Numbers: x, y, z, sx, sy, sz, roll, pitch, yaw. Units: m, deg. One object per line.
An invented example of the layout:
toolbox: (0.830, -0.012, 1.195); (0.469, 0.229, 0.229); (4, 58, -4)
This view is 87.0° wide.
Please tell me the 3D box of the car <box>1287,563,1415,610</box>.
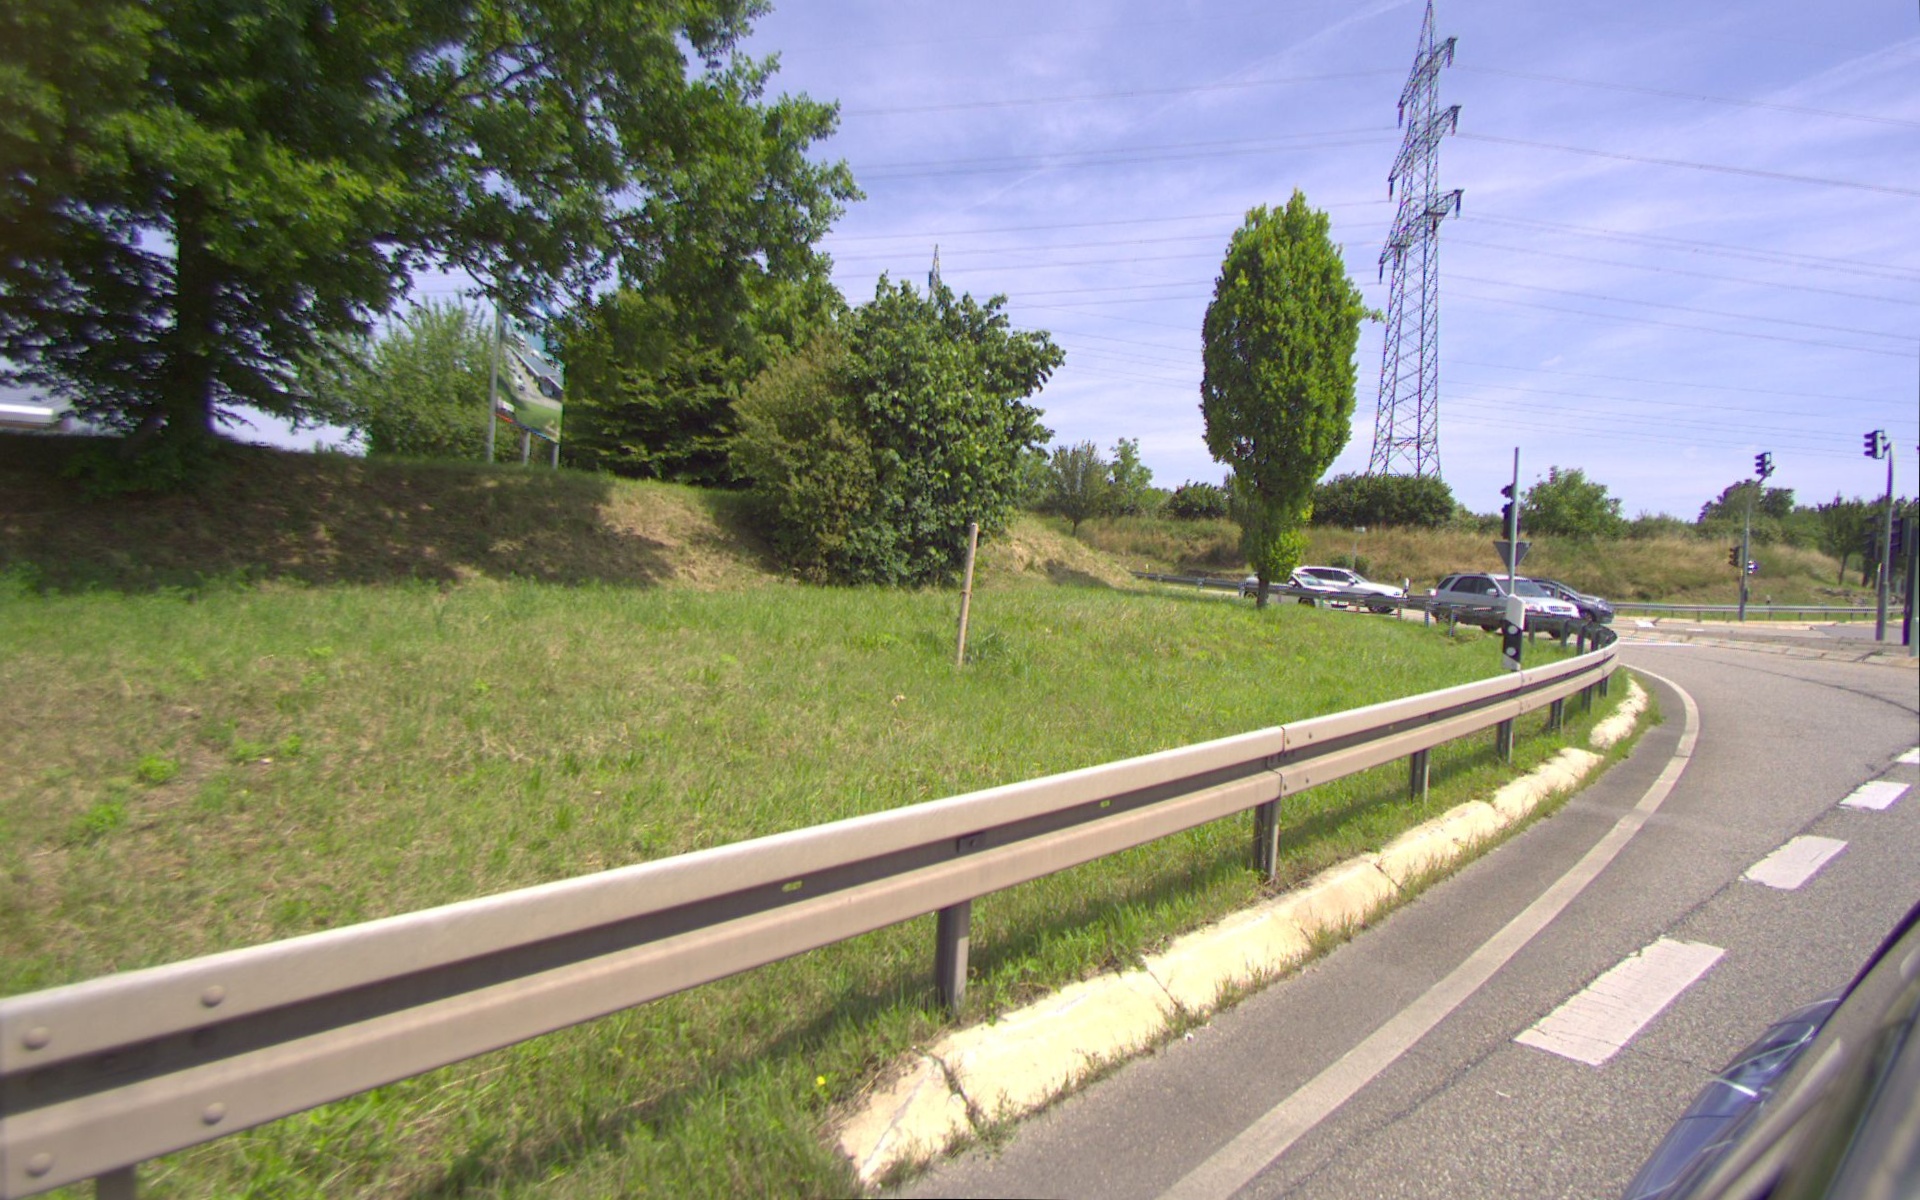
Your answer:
car: (15.172, -0.565, 39.360); (4.344, 1.611, 1.758); (4, 3, 34)

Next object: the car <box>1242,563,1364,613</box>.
car: (12.421, -0.473, 36.870); (1.747, 1.619, 4.004); (0, 3, -32)

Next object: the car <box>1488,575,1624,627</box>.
car: (20.902, -0.018, 35.610); (3.971, 1.529, 1.697); (5, 3, 32)

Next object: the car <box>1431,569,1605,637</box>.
car: (15.401, 0.013, 28.259); (1.798, 1.675, 4.382); (1, 2, -11)

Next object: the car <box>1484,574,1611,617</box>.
car: (23.920, -0.205, 41.293); (4.344, 1.529, 1.695); (4, 2, 34)
